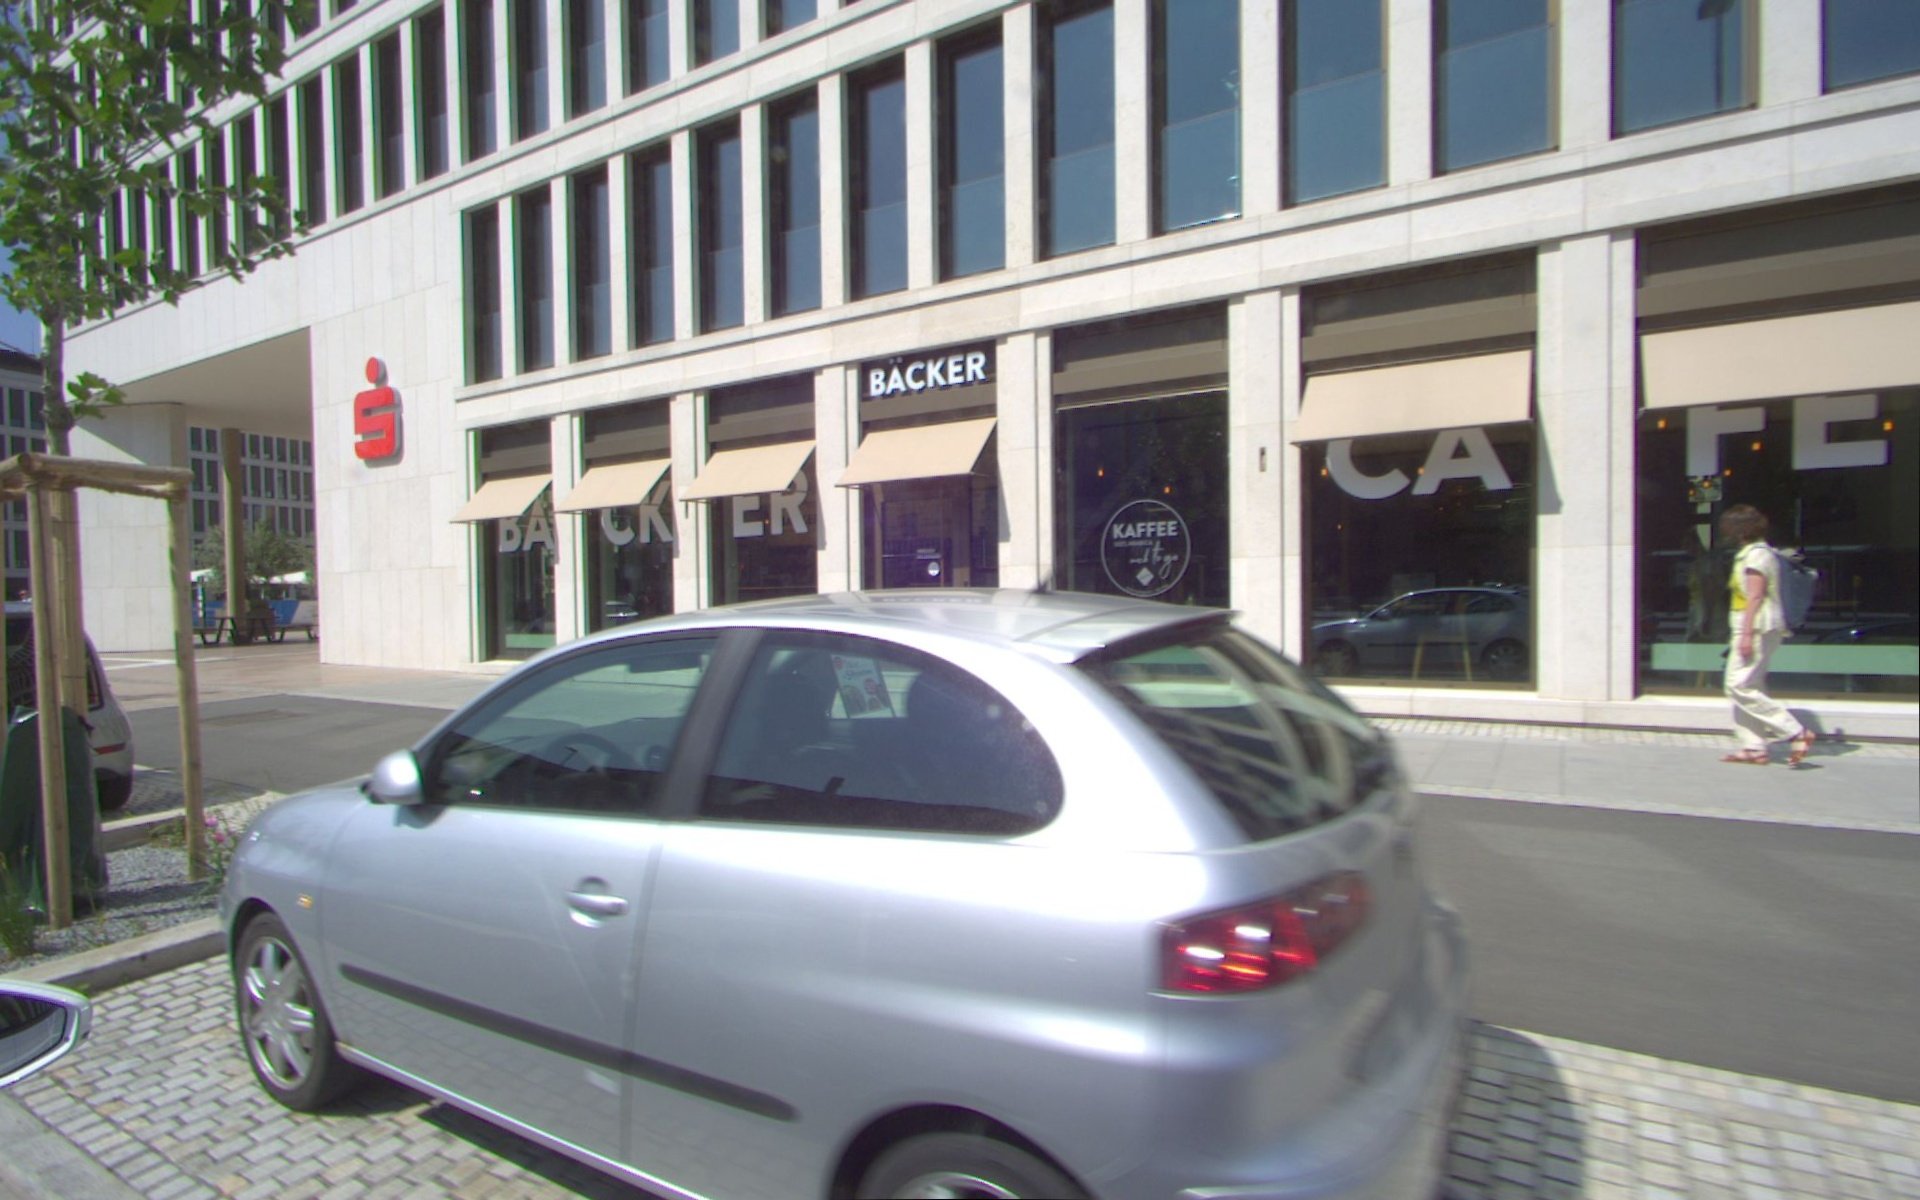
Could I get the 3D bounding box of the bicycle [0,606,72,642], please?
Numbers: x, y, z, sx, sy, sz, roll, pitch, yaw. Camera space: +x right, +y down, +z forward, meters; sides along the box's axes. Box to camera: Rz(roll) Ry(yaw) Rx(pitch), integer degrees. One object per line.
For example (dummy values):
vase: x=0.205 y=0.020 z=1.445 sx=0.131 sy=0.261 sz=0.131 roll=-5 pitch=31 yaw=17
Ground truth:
bicycle: x=-30.551 y=0.771 z=32.827 sx=0.889 sy=1.098 sz=1.963 roll=0 pitch=0 yaw=21

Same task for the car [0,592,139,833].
car: x=-7.432 y=0.705 z=7.039 sx=3.420 sy=1.492 sz=1.552 roll=0 pitch=1 yaw=32

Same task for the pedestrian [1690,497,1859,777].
pedestrian: x=5.489 y=0.235 z=6.799 sx=0.802 sy=1.765 sz=0.626 roll=0 pitch=1 yaw=32

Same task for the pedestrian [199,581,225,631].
pedestrian: x=-30.923 y=0.257 z=41.393 sx=0.613 sy=2.040 sz=0.642 roll=0 pitch=1 yaw=32

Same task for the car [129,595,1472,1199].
car: x=-0.675 y=0.714 z=2.931 sx=3.760 sy=1.406 sz=1.601 roll=0 pitch=1 yaw=32

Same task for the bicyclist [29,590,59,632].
bicyclist: x=-30.401 y=0.370 z=33.226 sx=0.898 sy=1.378 sz=0.358 roll=0 pitch=1 yaw=21

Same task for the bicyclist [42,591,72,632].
bicyclist: x=-30.282 y=0.381 z=33.572 sx=0.886 sy=1.378 sz=0.358 roll=0 pitch=1 yaw=21

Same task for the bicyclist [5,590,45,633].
bicyclist: x=-30.576 y=0.368 z=32.761 sx=0.885 sy=1.378 sz=0.616 roll=0 pitch=1 yaw=21
